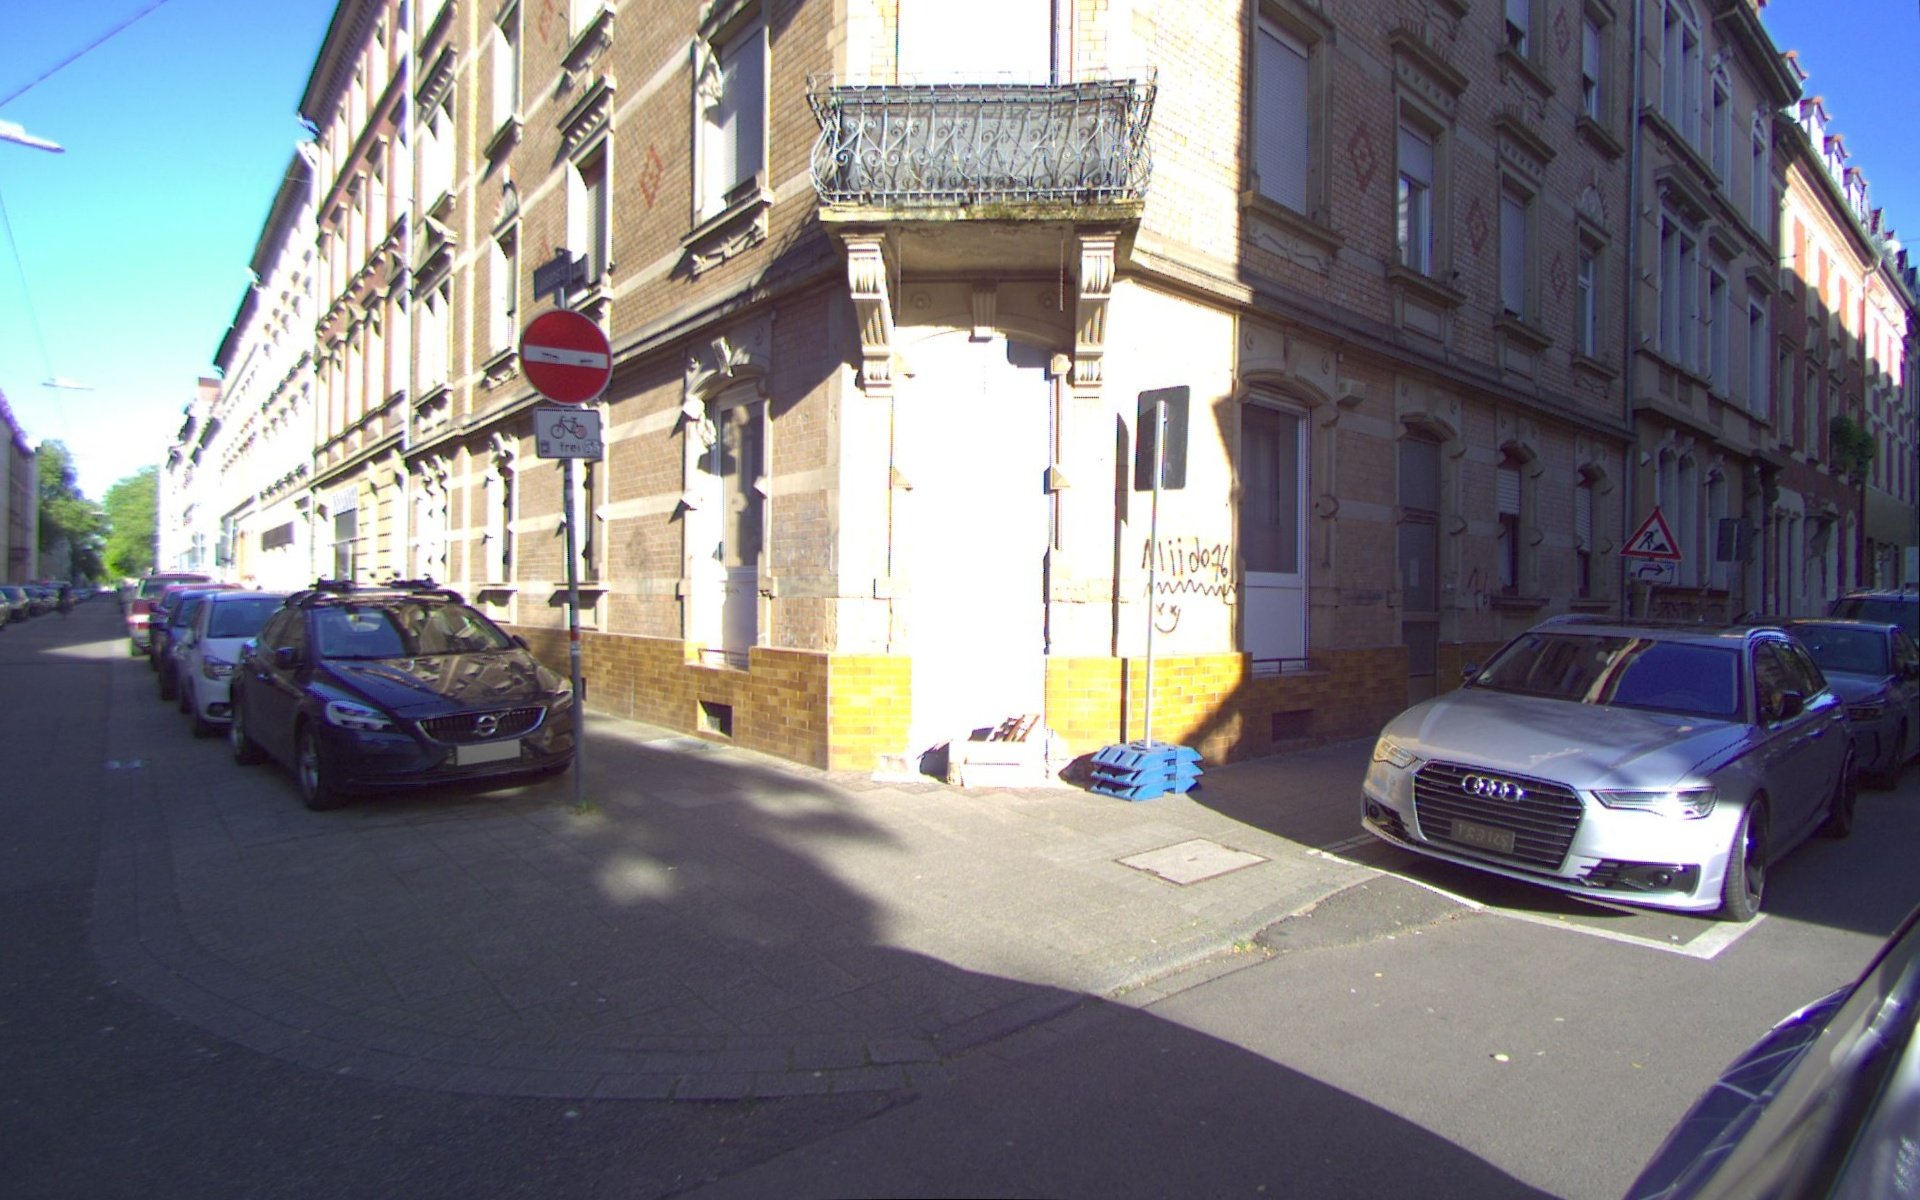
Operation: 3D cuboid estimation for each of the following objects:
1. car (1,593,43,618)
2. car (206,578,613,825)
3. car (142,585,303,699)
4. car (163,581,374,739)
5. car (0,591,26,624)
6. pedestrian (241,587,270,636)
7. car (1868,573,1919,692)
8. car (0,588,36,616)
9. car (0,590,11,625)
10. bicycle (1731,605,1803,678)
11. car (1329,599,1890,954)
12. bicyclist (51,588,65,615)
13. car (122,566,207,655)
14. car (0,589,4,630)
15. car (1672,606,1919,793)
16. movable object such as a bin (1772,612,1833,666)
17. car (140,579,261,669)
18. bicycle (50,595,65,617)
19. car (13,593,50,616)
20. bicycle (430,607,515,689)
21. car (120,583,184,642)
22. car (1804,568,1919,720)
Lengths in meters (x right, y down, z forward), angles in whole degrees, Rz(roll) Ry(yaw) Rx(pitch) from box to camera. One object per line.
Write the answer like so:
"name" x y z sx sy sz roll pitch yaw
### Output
"car" -54.533 0.296 58.883 1.573 1.444 3.740 0 0 -40
"car" -4.674 0.591 8.276 4.241 1.489 1.741 0 2 44
"car" -11.238 0.552 15.309 1.704 1.488 3.994 1 0 -40
"car" -8.122 0.540 11.740 1.562 1.456 3.994 -3 3 -40
"car" -43.551 0.307 45.881 1.573 1.444 3.740 0 0 -40
"pedestrian" -22.870 0.368 32.853 0.699 1.586 0.722 0 0 -40
"car" 18.292 0.550 18.521 4.658 2.040 1.835 0 -2 -40
"car" -50.217 0.105 53.680 1.573 1.444 3.740 0 0 -40
"car" -40.649 0.298 42.014 1.573 1.444 3.740 0 0 -40
"bicycle" 15.511 0.767 19.445 1.662 1.320 0.728 0 2 -40
"car" 4.275 0.760 6.336 4.431 1.477 1.709 0 -2 -40
"bicyclist" -44.584 0.064 50.025 0.509 1.343 0.637 1 -1 -42
"car" -19.452 0.235 24.685 1.510 1.997 4.023 1 0 -40
"car" -33.970 0.348 34.635 1.573 1.444 3.864 0 0 -40
"car" 8.638 0.827 10.043 3.818 1.498 1.669 1 -1 -40
"movable object such as a bin" 18.258 0.832 21.923 0.710 1.074 0.897 1 2 -42
"car" -15.097 0.421 20.036 1.704 1.602 3.994 1 0 -40
"bicycle" -44.524 0.312 49.956 0.524 1.068 1.778 1 0 -41
"car" -60.024 0.286 65.443 1.573 1.444 3.740 0 0 -40
"bicycle" -7.018 0.652 14.515 0.619 1.073 1.880 -2 1 -41
"car" -25.972 0.374 32.473 1.510 1.772 4.052 1 0 -40
"car" 13.980 0.584 14.801 4.188 1.986 1.772 0 -2 -40
